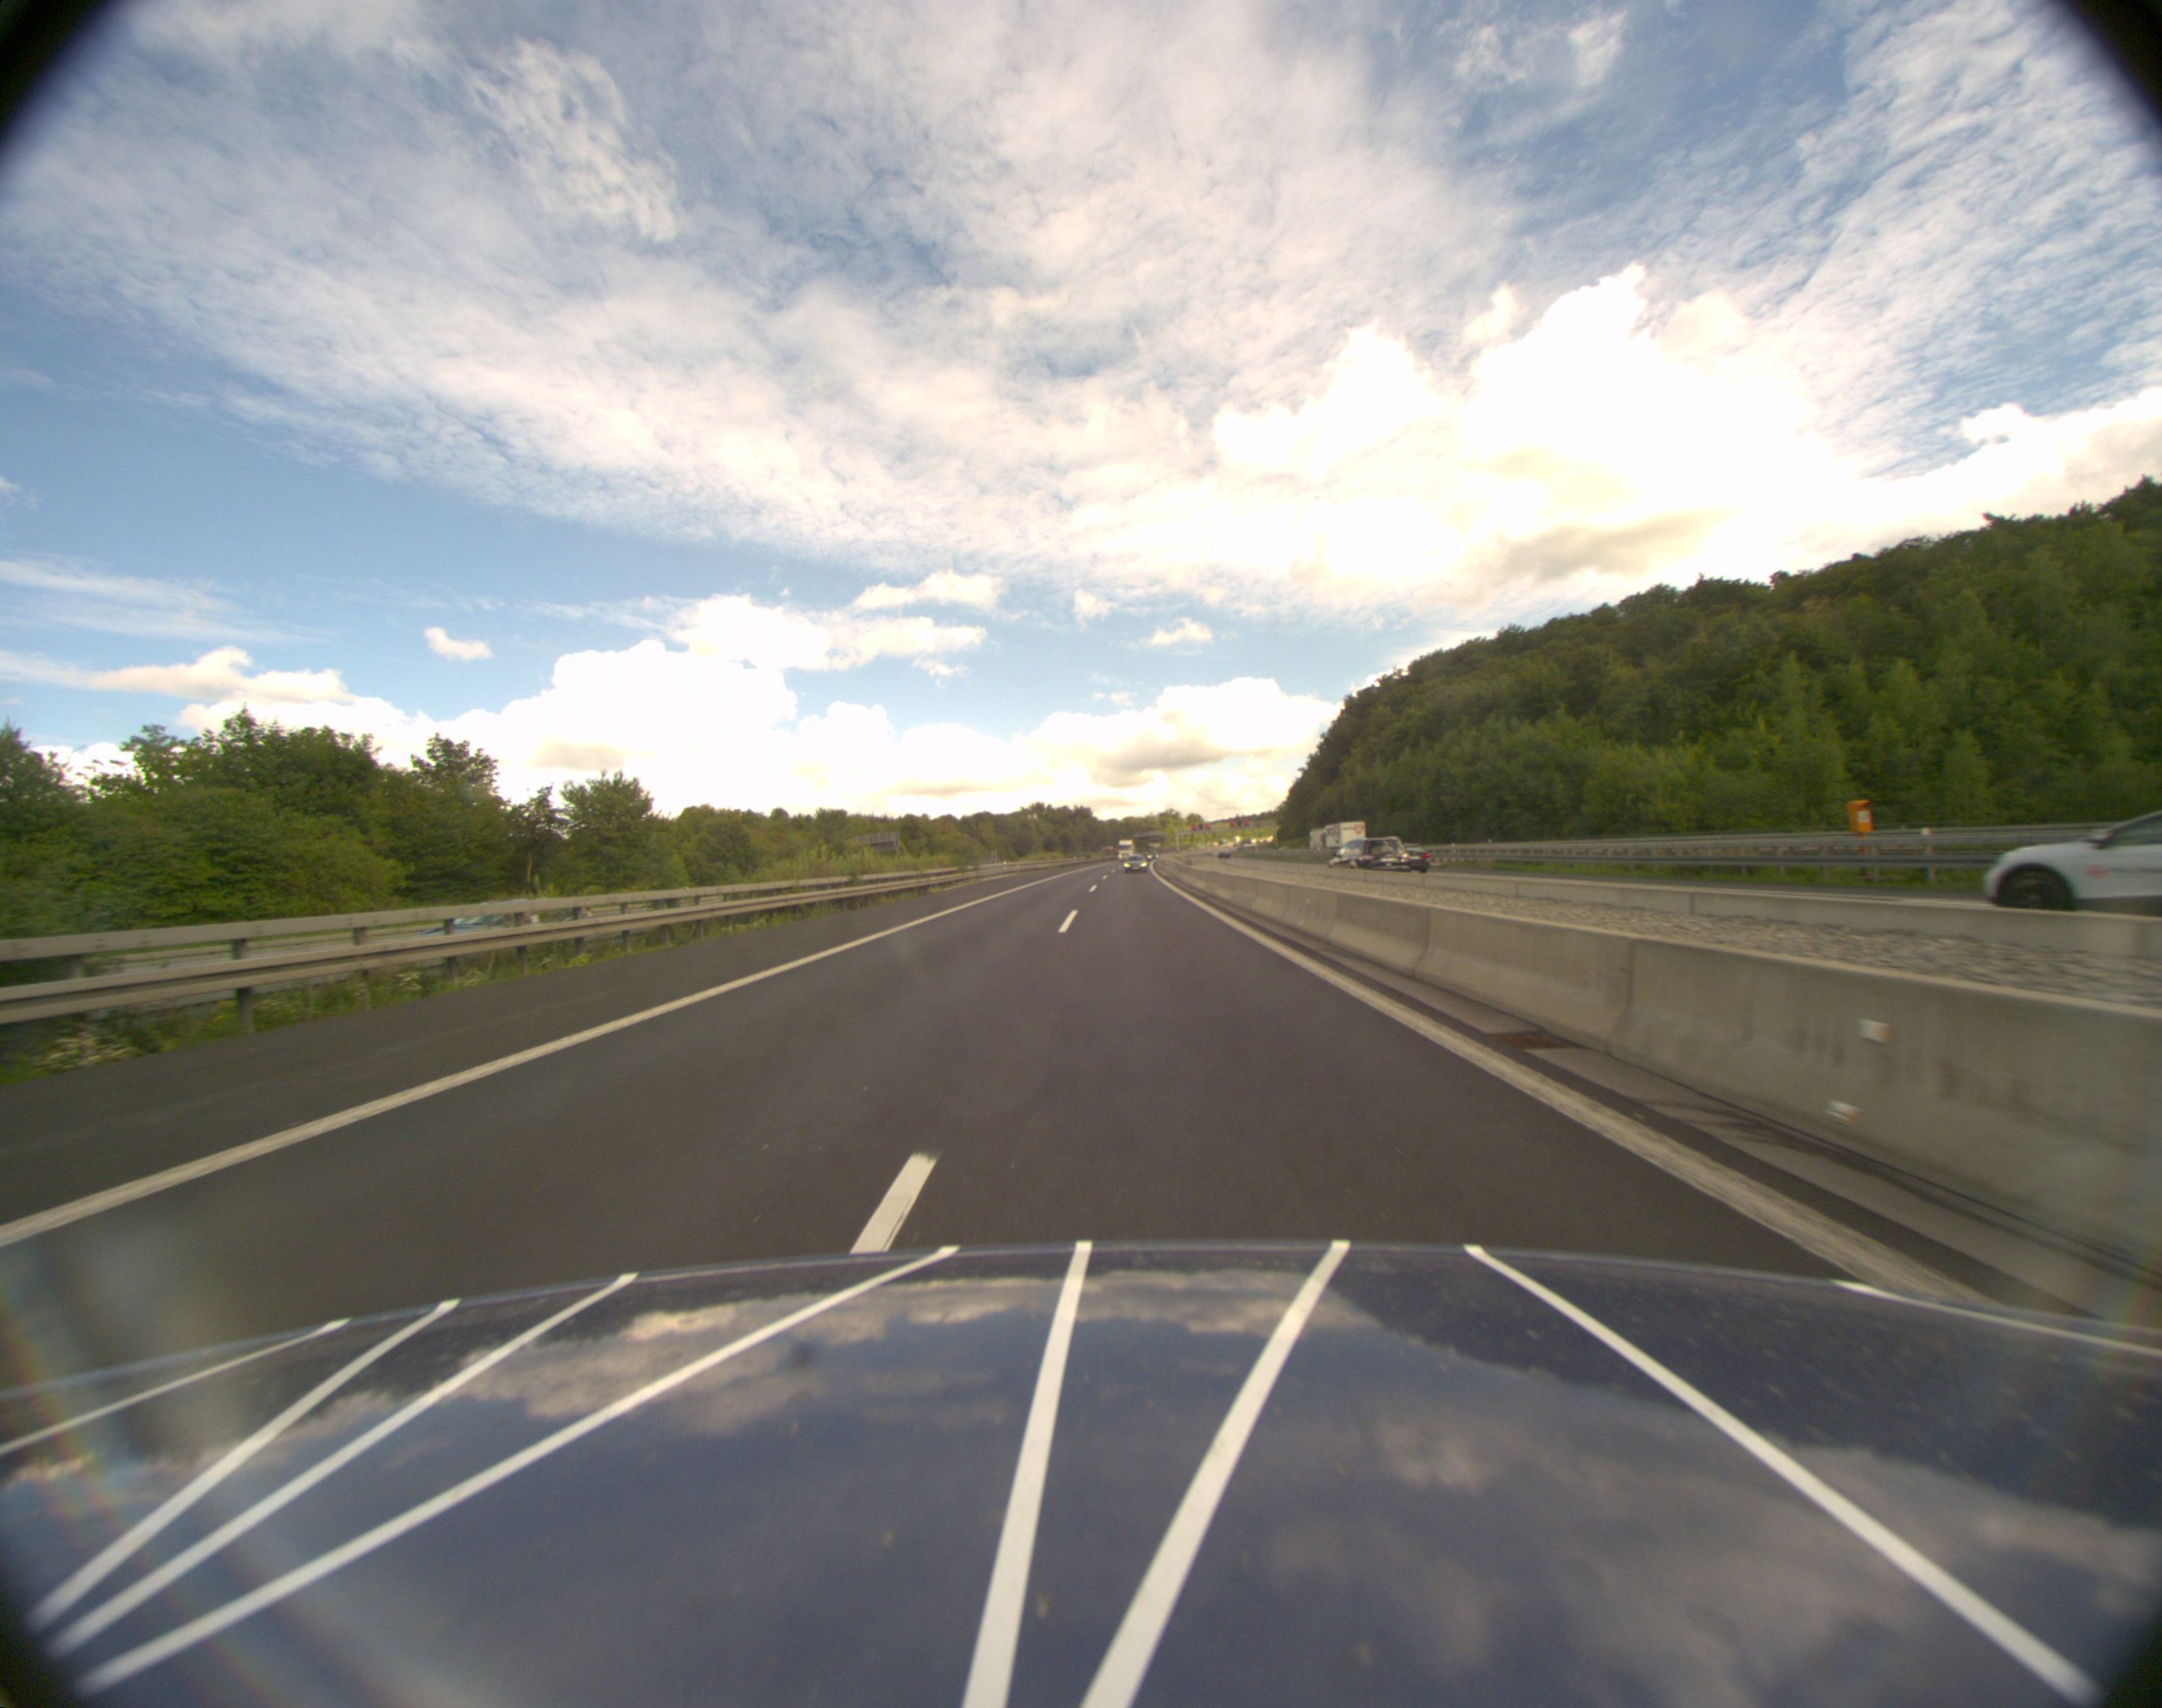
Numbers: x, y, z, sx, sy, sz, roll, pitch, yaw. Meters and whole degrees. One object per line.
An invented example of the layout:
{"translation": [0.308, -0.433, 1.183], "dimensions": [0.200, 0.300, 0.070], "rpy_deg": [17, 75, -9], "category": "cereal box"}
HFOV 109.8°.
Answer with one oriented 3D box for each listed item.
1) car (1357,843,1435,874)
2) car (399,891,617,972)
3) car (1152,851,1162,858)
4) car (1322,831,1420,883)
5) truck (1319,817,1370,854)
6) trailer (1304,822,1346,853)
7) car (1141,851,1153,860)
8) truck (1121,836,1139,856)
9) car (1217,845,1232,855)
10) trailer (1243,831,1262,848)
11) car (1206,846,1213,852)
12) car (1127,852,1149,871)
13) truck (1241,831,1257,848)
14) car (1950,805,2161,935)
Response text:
{"translation": [15.677, 0.193, 38.123], "dimensions": [1.998, 1.394, 4.813], "rpy_deg": [-2, 0, 1], "category": "car"}
{"translation": [-14.687, 1.912, 19.902], "dimensions": [1.788, 1.510, 4.677], "rpy_deg": [-3, 1, 5], "category": "car"}
{"translation": [16.822, 0.064, 168.236], "dimensions": [1.997, 1.464, 4.002], "rpy_deg": [-3, 0, 8], "category": "car"}
{"translation": [10.525, 0.089, 28.015], "dimensions": [1.890, 1.693, 4.967], "rpy_deg": [-2, 0, 3], "category": "car"}
{"translation": [31.032, -2.210, 89.974], "dimensions": [2.908, 3.946, 10.464], "rpy_deg": [-2, 2, 4], "category": "truck"}
{"translation": [36.768, -2.522, 115.172], "dimensions": [3.328, 4.268, 12.141], "rpy_deg": [-2, 2, 5], "category": "trailer"}
{"translation": [11.824, 0.187, 135.448], "dimensions": [1.997, 1.464, 4.002], "rpy_deg": [-2, 0, 7], "category": "car"}
{"translation": [9.713, -1.639, 150.127], "dimensions": [2.795, 3.563, 11.461], "rpy_deg": [-2, 2, 7], "category": "truck"}
{"translation": [24.058, -0.687, 127.502], "dimensions": [1.878, 1.439, 5.122], "rpy_deg": [-2, 2, 5], "category": "car"}
{"translation": [40.894, -3.506, 181.825], "dimensions": [2.819, 3.785, 12.192], "rpy_deg": [-3, 0, 6], "category": "trailer"}
{"translation": [37.609, -1.566, 222.511], "dimensions": [1.716, 1.519, 4.767], "rpy_deg": [-2, 2, 6], "category": "car"}
{"translation": [4.873, 0.613, 64.059], "dimensions": [1.662, 1.464, 4.001], "rpy_deg": [-3, 1, 6], "category": "car"}
{"translation": [41.555, -3.550, 188.124], "dimensions": [2.815, 3.804, 7.131], "rpy_deg": [-3, 1, 6], "category": "truck"}
{"translation": [14.234, 0.161, 9.130], "dimensions": [1.891, 1.600, 4.966], "rpy_deg": [-2, 0, 0], "category": "car"}
